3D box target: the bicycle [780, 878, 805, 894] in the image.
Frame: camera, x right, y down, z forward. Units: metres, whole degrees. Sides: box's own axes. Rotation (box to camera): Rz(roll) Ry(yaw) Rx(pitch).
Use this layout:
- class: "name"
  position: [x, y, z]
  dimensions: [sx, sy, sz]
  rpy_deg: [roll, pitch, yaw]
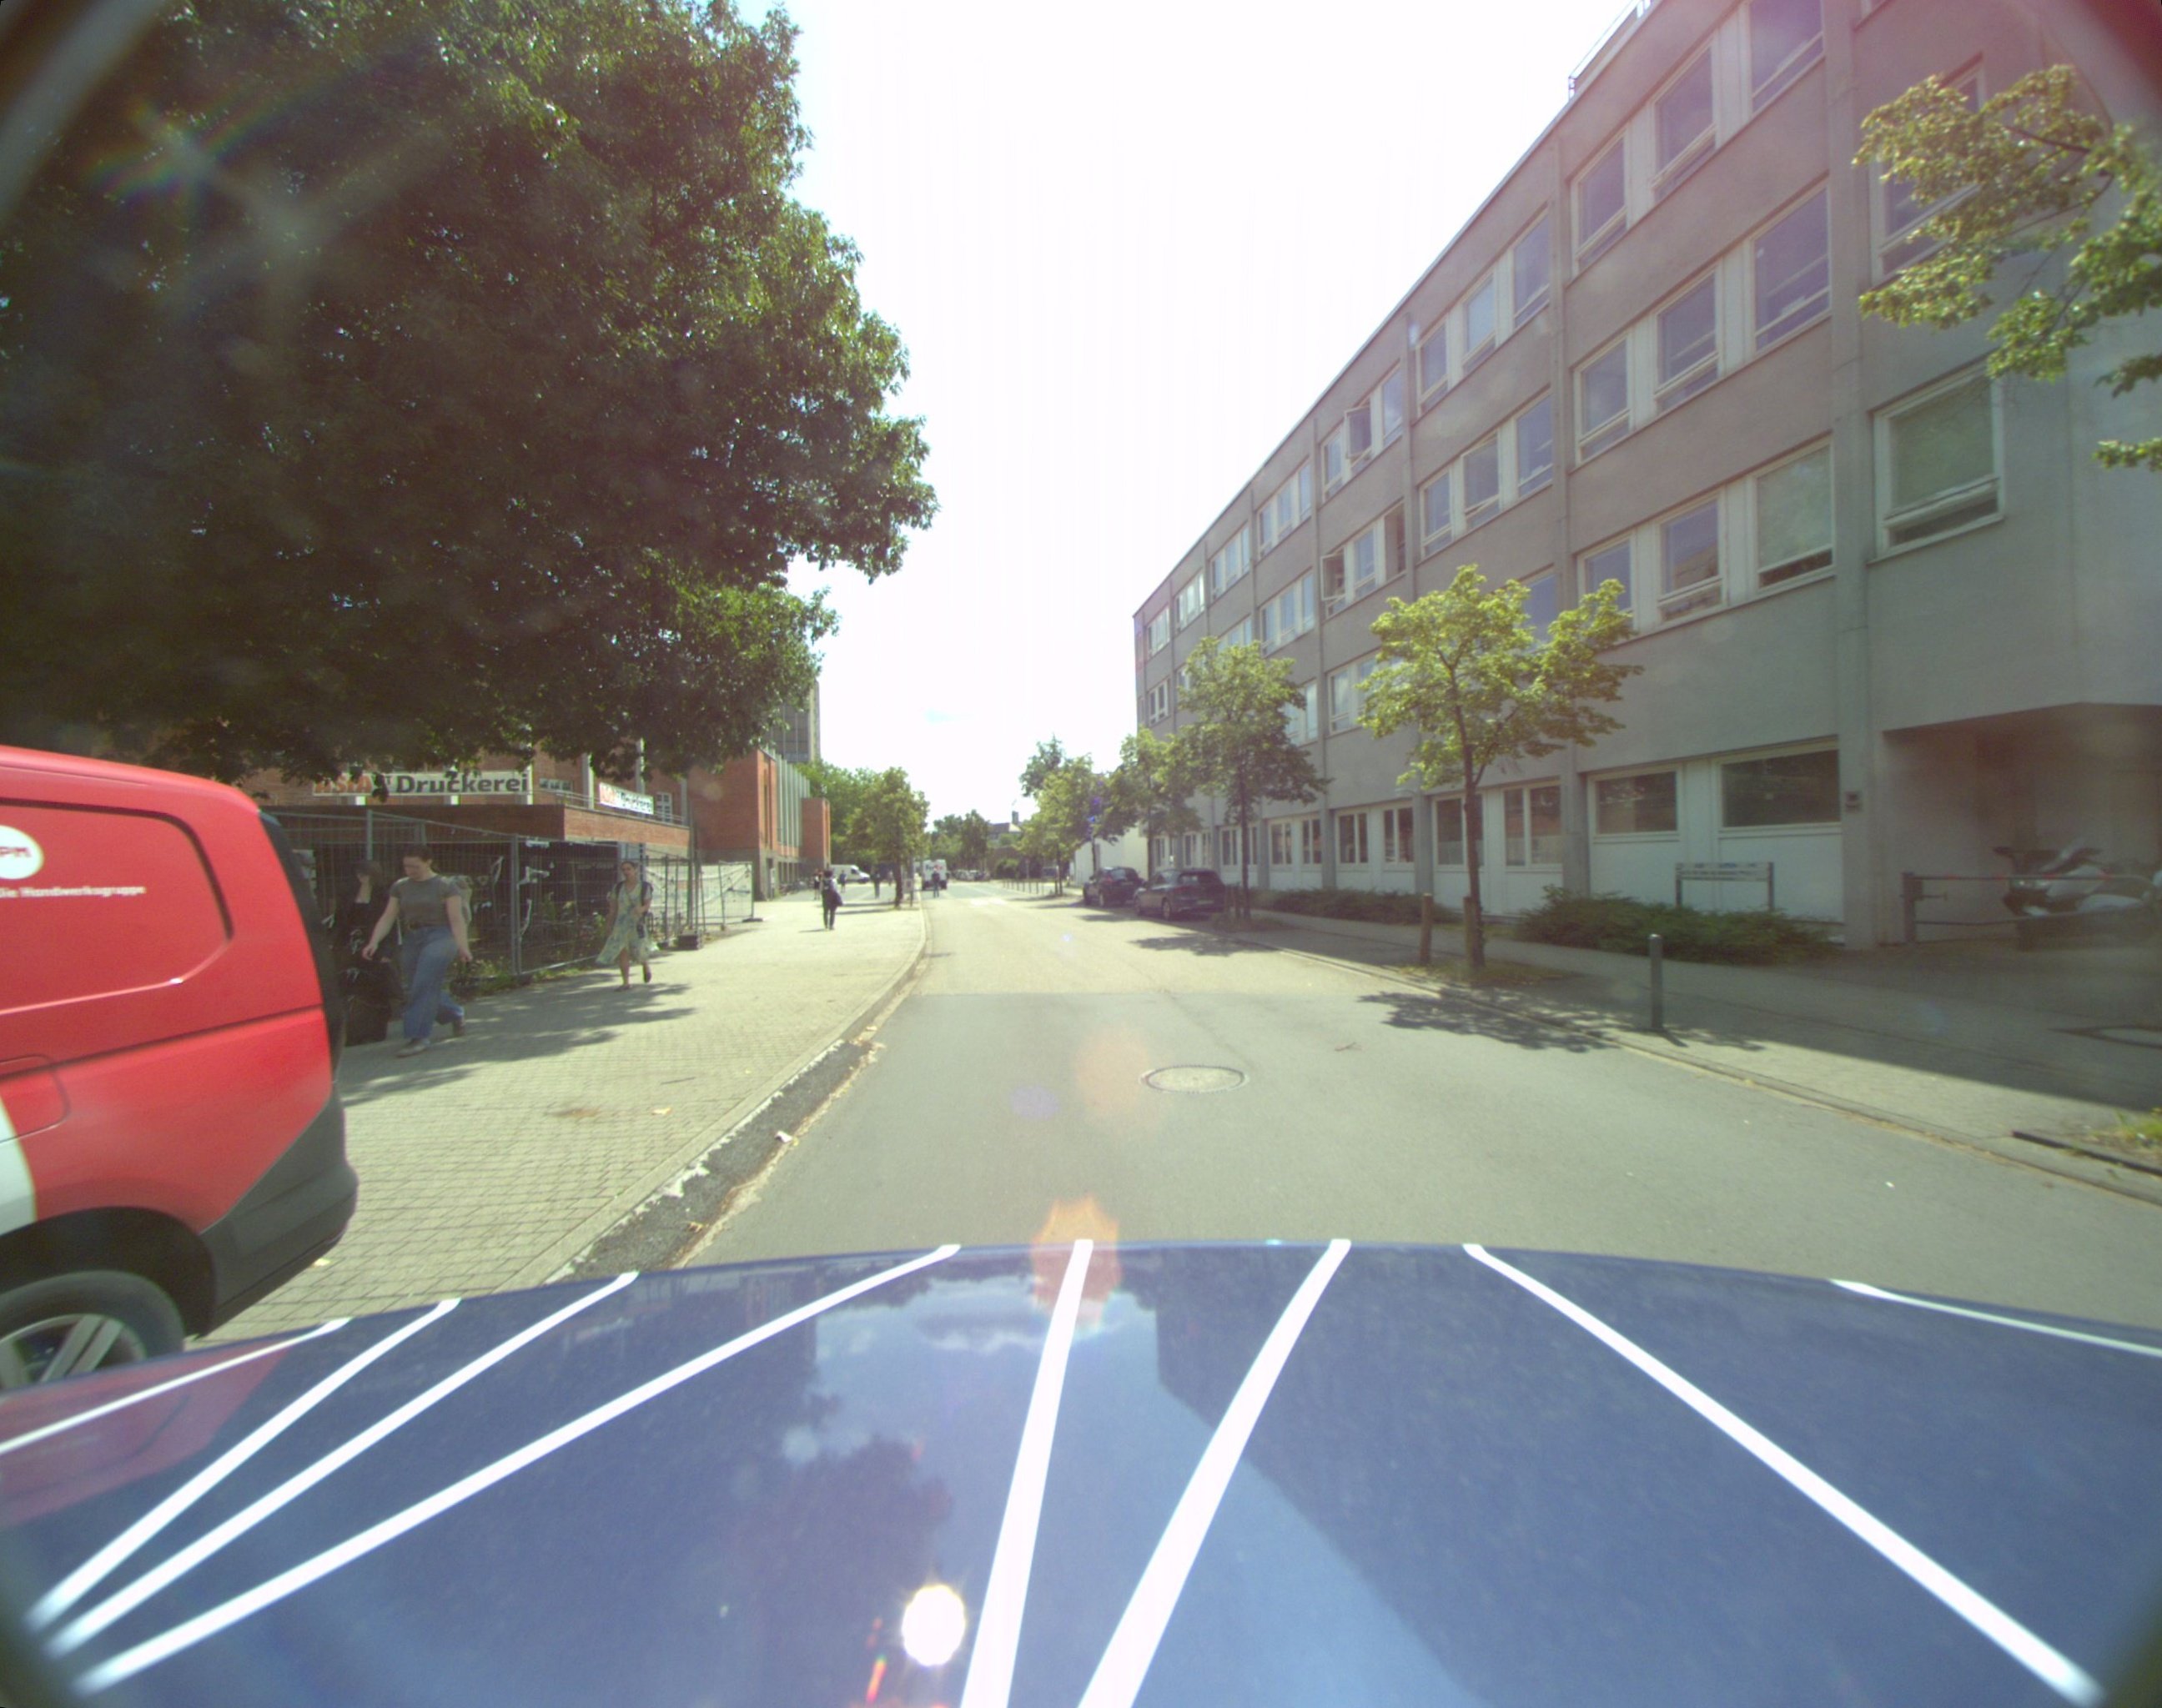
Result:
- class: "bicycle"
  position: [-21.749, 2.420, 57.250]
  dimensions: [1.688, 1.103, 0.435]
  rpy_deg: [-1, 0, -14]

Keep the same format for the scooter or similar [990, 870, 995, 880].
- class: "scooter or similar"
  position: [-10.807, 2.558, 92.833]
  dimensions: [0.471, 1.209, 1.204]
  rpy_deg: [-2, -1, -7]

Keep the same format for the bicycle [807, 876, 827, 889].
- class: "bicycle"
  position: [-24.951, 2.694, 71.917]
  dimensions: [1.700, 1.103, 0.435]
  rpy_deg: [-1, 0, -14]

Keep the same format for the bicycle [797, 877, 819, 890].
- class: "bicycle"
  position: [-23.782, 2.589, 66.230]
  dimensions: [1.688, 1.103, 0.435]
  rpy_deg: [-1, 0, -14]

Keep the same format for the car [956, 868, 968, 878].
- class: "car"
  position: [-22.375, 3.570, 142.948]
  dimensions: [1.934, 1.624, 4.368]
  rpy_deg: [-2, -1, -11]

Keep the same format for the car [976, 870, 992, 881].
- class: "car"
  position: [-12.314, 2.671, 96.455]
  dimensions: [1.702, 1.287, 3.759]
  rpy_deg: [-2, -1, -11]

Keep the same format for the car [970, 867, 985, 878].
- class: "car"
  position: [-14.054, 2.527, 102.732]
  dimensions: [1.636, 1.422, 3.629]
  rpy_deg: [-2, -1, -12]

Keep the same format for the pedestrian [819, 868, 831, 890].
- class: "pedestrian"
  position: [-21.571, 2.136, 64.023]
  dimensions: [0.665, 1.823, 0.906]
  rpy_deg: [-2, 0, -3]

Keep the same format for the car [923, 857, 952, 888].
- class: "car"
  position: [-12.567, 1.583, 66.246]
  dimensions: [2.067, 2.528, 5.843]
  rpy_deg: [-2, -1, -14]

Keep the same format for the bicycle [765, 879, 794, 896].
- class: "bicycle"
  position: [-21.099, 2.339, 53.207]
  dimensions: [1.759, 1.143, 0.517]
  rpy_deg: [-1, 0, -14]

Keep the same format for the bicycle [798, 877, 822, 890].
- class: "bicycle"
  position: [-24.187, 2.613, 67.855]
  dimensions: [1.918, 1.103, 0.435]
  rpy_deg: [-1, 0, -14]

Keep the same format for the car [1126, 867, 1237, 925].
- class: "car"
  position: [2.847, 1.177, 22.522]
  dimensions: [1.784, 1.452, 4.254]
  rpy_deg: [-3, 0, -14]

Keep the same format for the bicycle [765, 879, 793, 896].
- class: "bicycle"
  position: [-20.842, 2.321, 52.481]
  dimensions: [1.759, 1.143, 0.435]
  rpy_deg: [-1, 0, -14]

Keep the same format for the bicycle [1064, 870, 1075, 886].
- class: "bicycle"
  position: [-0.845, 1.744, 55.410]
  dimensions: [0.545, 1.055, 1.898]
  rpy_deg: [-2, -1, -7]

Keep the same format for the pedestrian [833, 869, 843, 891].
- class: "pedestrian"
  position: [-19.195, 2.057, 60.102]
  dimensions: [0.587, 1.697, 1.001]
  rpy_deg: [-1, 0, -11]

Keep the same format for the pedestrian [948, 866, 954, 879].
- class: "pedestrian"
  position: [-16.956, 2.406, 99.101]
  dimensions: [0.558, 1.706, 0.971]
  rpy_deg: [-2, 0, -24]

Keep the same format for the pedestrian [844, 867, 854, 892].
- class: "pedestrian"
  position: [-18.328, 2.014, 60.092]
  dimensions: [0.666, 1.879, 1.108]
  rpy_deg: [-1, 0, -15]

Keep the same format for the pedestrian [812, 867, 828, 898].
- class: "pedestrian"
  position: [-15.830, 1.736, 46.123]
  dimensions: [0.847, 1.823, 1.196]
  rpy_deg: [-2, 0, -17]

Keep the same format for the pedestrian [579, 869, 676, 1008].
- class: "pedestrian"
  position: [-5.710, 1.031, 9.620]
  dimensions: [0.651, 1.656, 0.904]
  rpy_deg: [-1, 0, -1]

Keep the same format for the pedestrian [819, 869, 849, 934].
- class: "pedestrian"
  position: [-6.897, 1.312, 21.246]
  dimensions: [0.697, 1.770, 0.786]
  rpy_deg: [-1, 0, -15]

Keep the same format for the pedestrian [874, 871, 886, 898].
- class: "pedestrian"
  position: [-12.613, 1.910, 47.673]
  dimensions: [0.643, 1.687, 0.792]
  rpy_deg: [-2, 0, -10]

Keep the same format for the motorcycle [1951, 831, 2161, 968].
- class: "motorcycle"
  position: [12.417, 0.521, 9.571]
  dimensions: [2.103, 1.541, 1.081]
  rpy_deg: [-2, 0, -15]

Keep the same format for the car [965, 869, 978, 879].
- class: "car"
  position: [-16.808, 3.041, 116.590]
  dimensions: [1.719, 1.424, 3.997]
  rpy_deg: [-2, -1, -11]

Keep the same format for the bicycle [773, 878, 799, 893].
- class: "bicycle"
  position: [-21.645, 2.307, 55.750]
  dimensions: [1.753, 1.103, 0.435]
  rpy_deg: [-1, 0, -14]

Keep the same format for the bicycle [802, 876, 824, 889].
- class: "bicycle"
  position: [-24.542, 2.634, 69.631]
  dimensions: [1.803, 1.103, 0.435]
  rpy_deg: [-1, 0, -14]

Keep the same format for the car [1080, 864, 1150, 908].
- class: "car"
  position: [1.278, 1.231, 30.391]
  dimensions: [1.703, 1.554, 4.063]
  rpy_deg: [-2, -1, -14]

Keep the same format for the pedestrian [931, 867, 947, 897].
- class: "pedestrian"
  position: [-9.017, 1.756, 48.183]
  dimensions: [0.826, 1.807, 1.143]
  rpy_deg: [-2, 0, -17]
